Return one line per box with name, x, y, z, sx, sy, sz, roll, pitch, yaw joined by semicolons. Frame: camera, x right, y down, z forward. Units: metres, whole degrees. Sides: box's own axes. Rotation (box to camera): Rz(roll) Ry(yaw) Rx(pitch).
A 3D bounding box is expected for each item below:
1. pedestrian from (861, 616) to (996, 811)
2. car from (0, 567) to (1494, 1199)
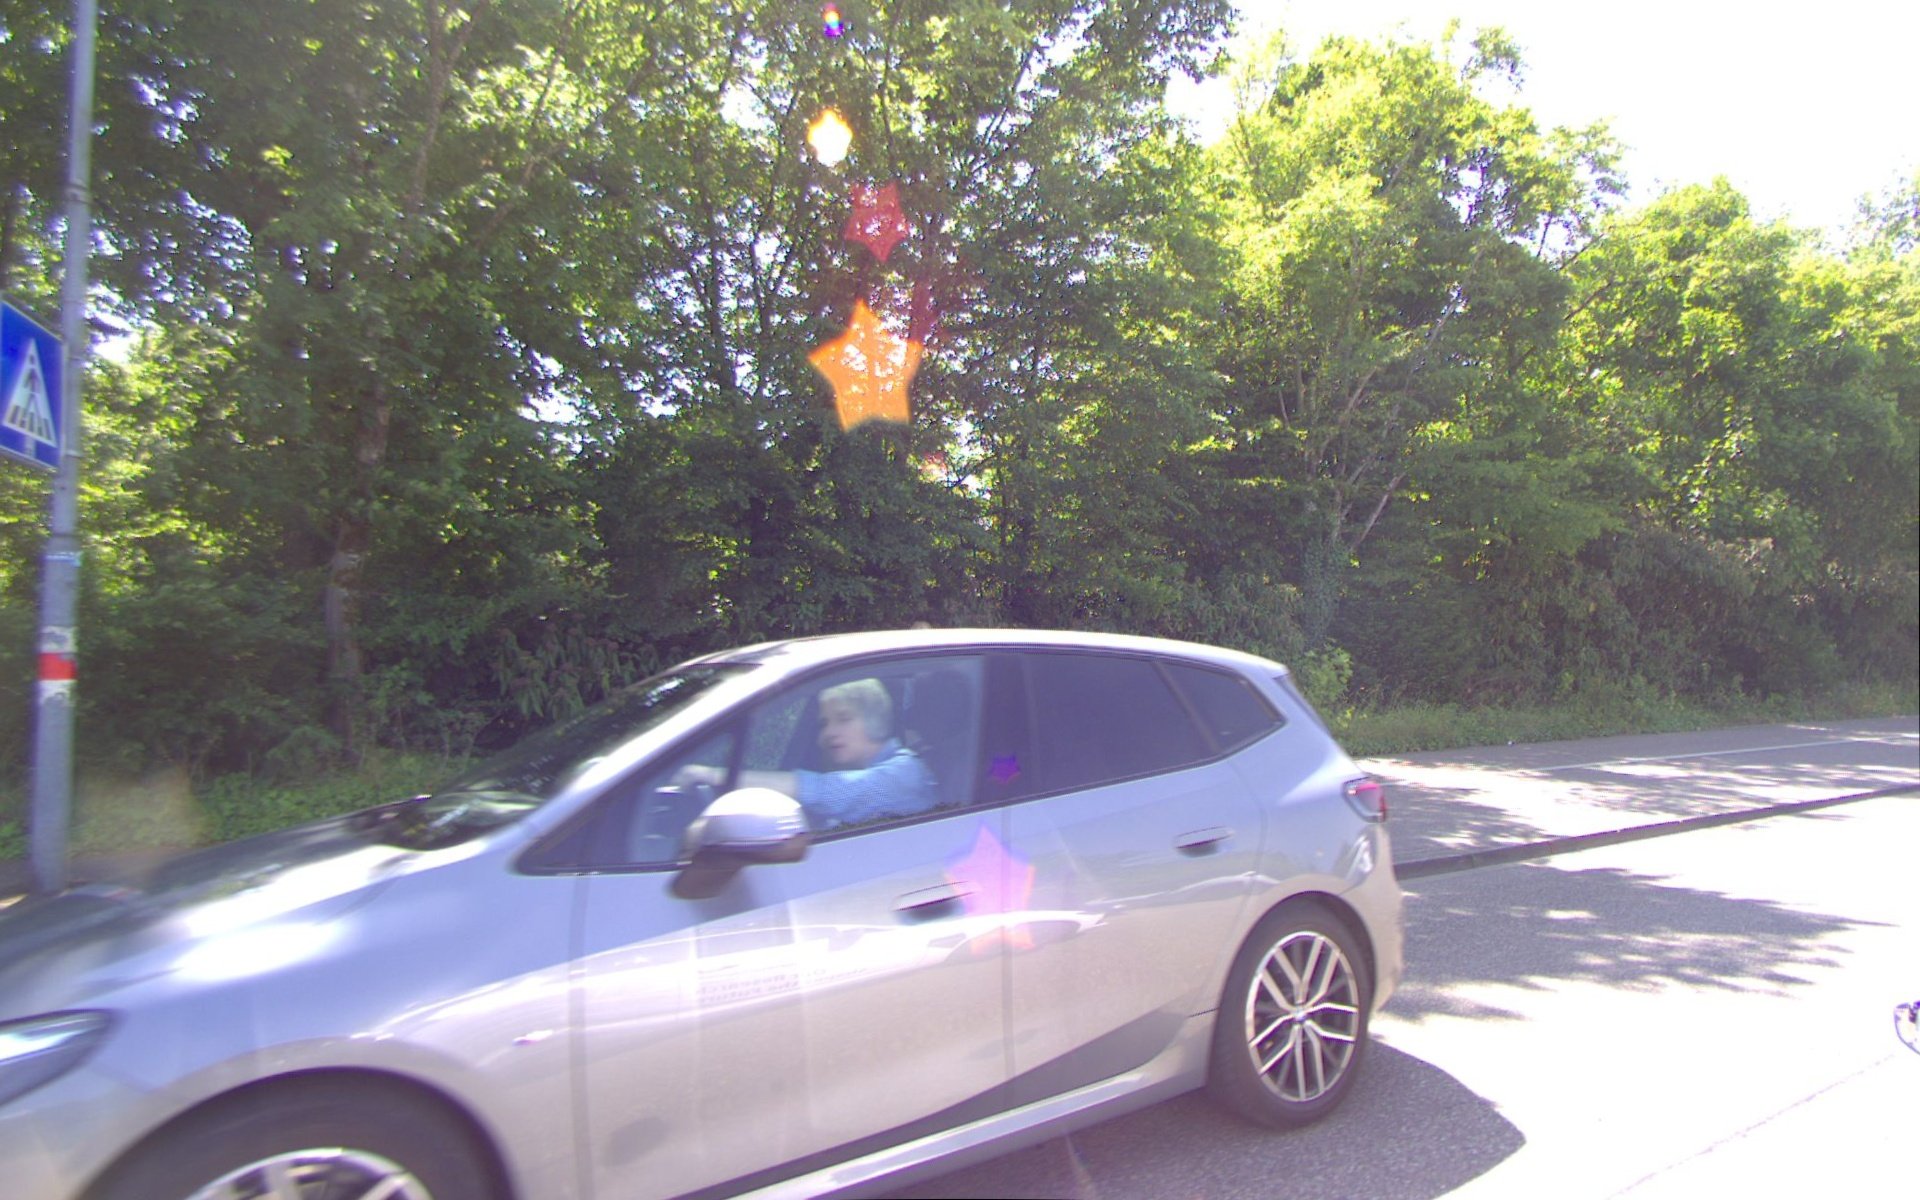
pedestrian;-0.296;0.974;9.039;0.875;1.634;0.928;2;-2;-30
car;-0.400;0.867;3.317;4.148;1.551;1.883;2;-7;-31
